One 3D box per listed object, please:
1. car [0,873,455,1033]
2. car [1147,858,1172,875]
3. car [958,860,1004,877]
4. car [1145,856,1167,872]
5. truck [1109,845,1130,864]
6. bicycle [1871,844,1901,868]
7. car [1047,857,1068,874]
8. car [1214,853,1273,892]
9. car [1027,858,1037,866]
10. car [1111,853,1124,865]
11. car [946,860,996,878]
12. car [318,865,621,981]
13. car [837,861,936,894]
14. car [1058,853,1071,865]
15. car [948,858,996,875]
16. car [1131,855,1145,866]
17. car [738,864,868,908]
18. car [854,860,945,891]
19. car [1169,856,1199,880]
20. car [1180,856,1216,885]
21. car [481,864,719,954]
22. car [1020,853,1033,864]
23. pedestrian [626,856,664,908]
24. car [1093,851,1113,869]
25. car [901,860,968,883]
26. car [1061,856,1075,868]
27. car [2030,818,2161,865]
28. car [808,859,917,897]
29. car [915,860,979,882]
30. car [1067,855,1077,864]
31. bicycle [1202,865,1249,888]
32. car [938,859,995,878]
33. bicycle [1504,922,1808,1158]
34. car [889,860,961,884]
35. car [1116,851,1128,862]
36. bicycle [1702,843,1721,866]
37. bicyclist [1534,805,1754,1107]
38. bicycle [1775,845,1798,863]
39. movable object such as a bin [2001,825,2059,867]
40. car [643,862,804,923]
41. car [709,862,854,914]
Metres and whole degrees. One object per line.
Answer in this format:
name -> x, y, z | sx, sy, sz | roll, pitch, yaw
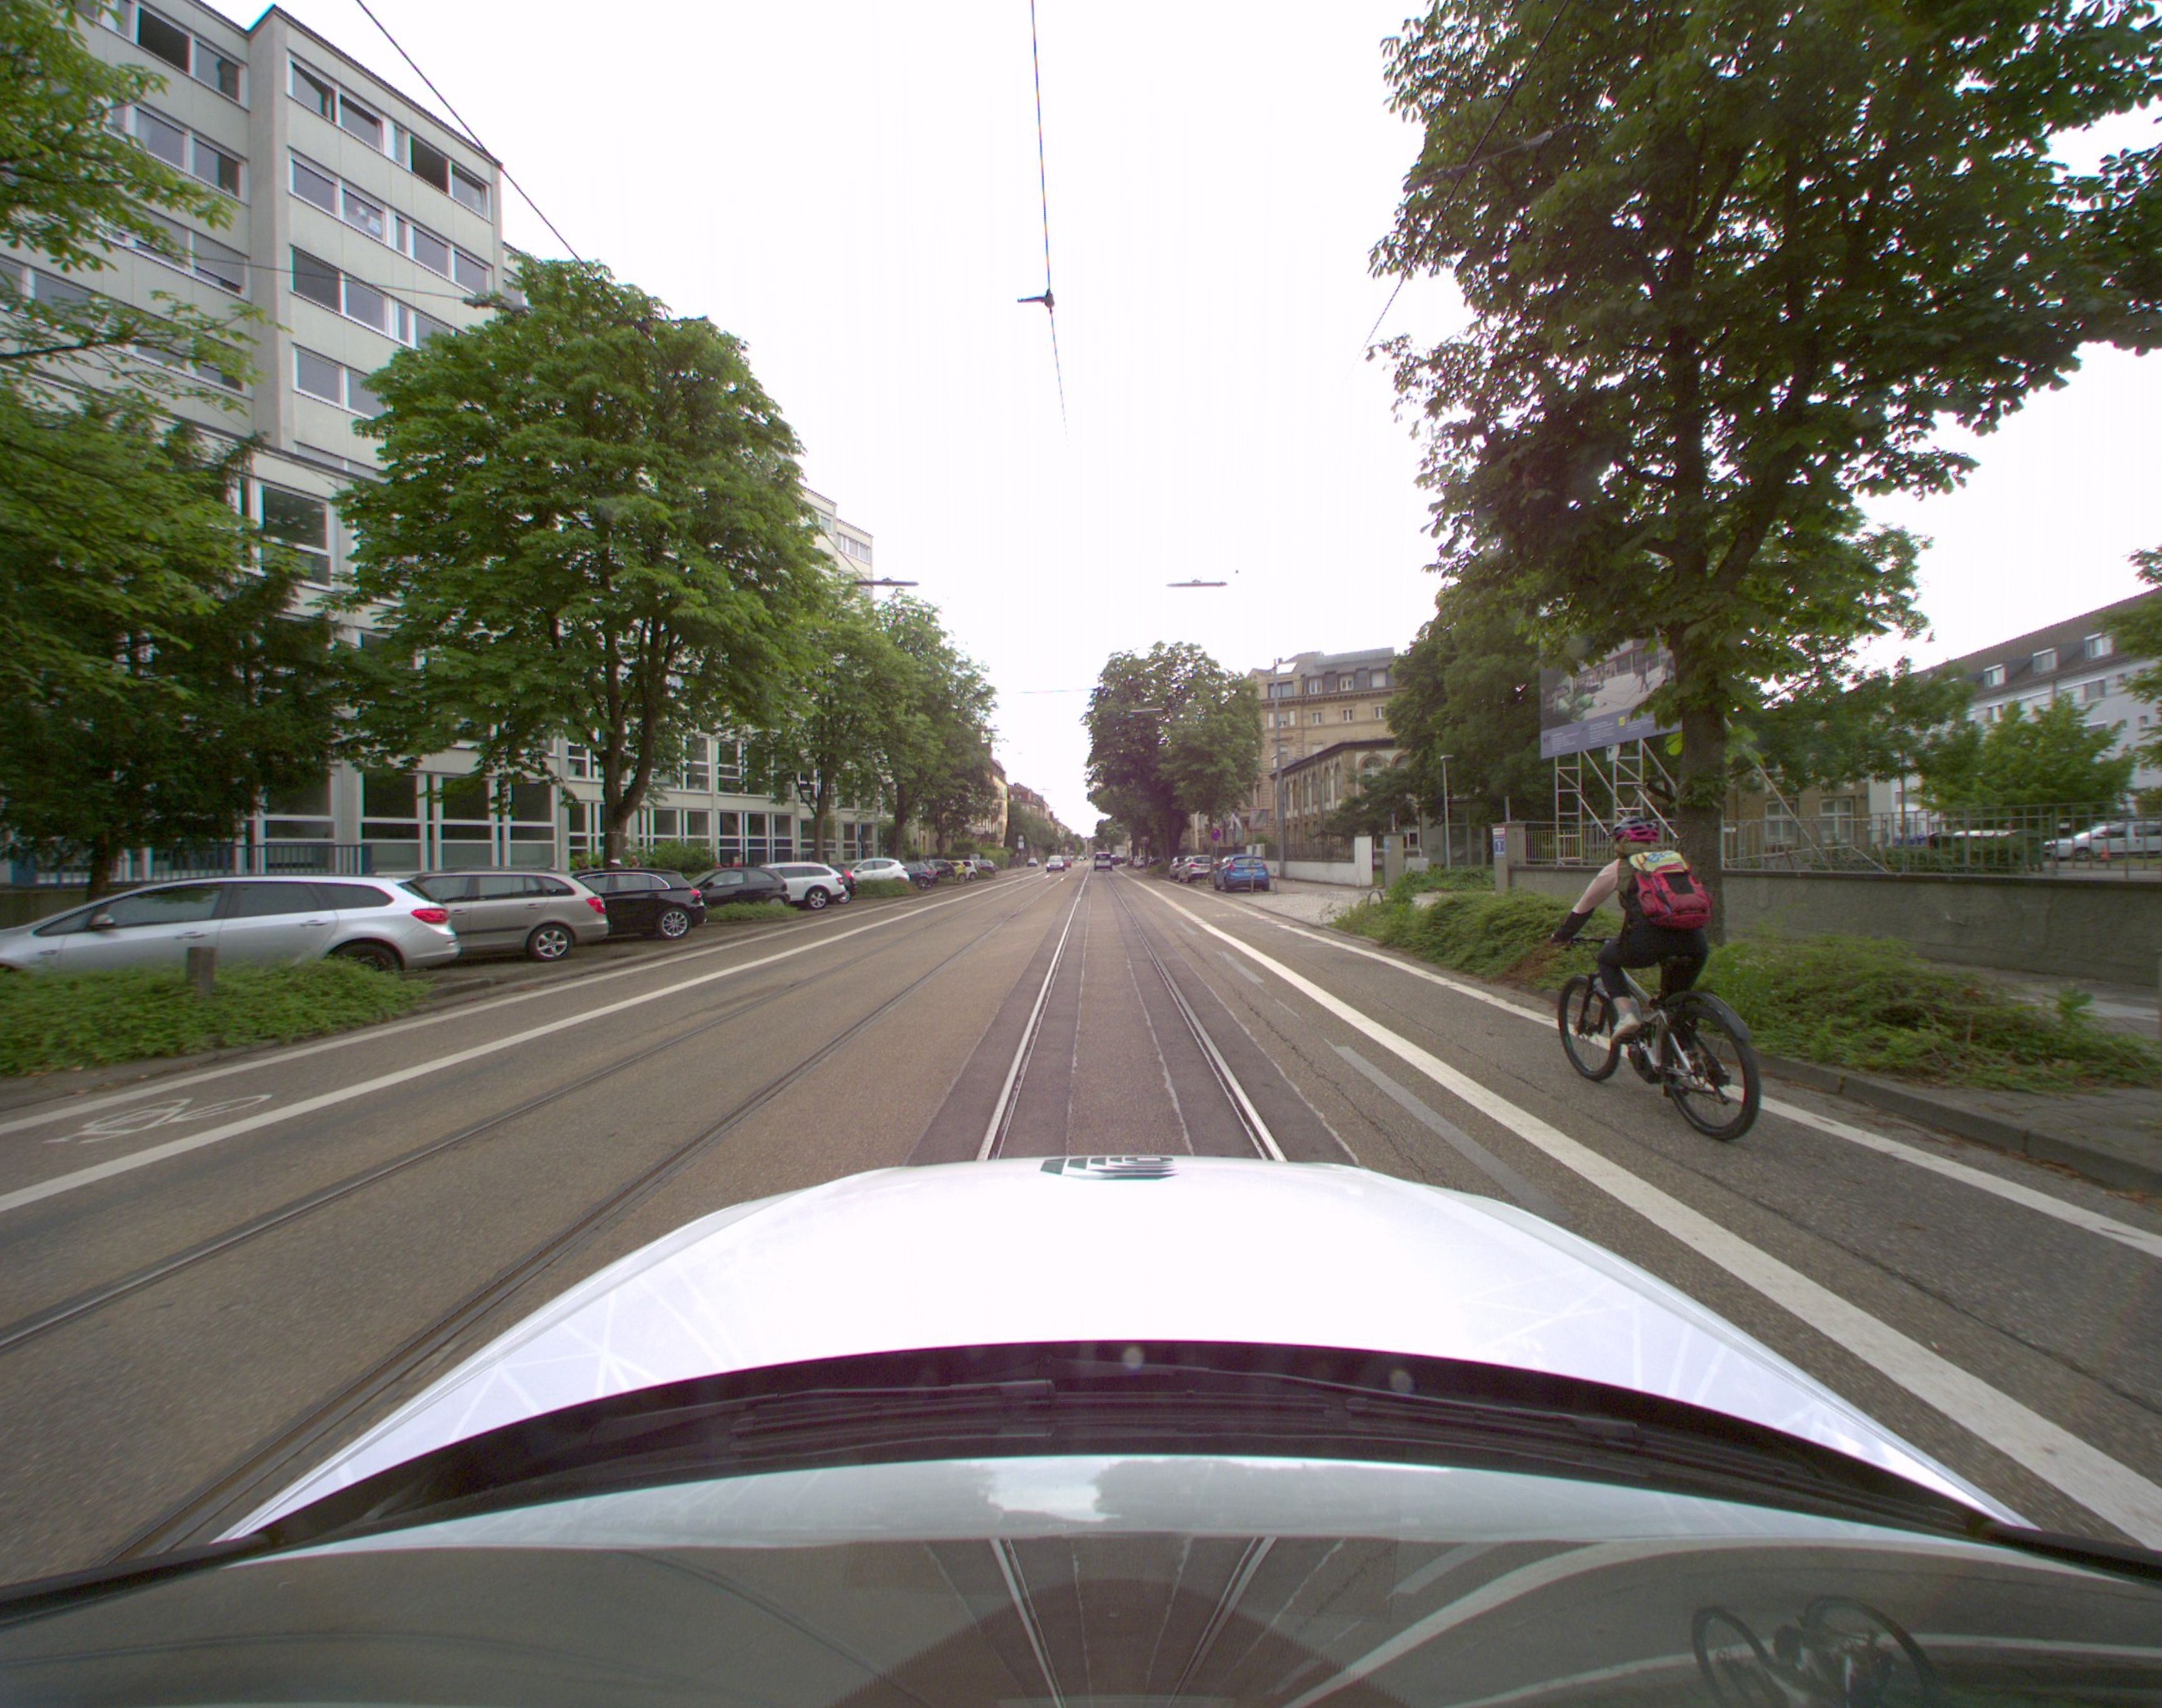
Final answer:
car -> -10.108, 0.991, 9.300 | 1.781, 1.465, 4.459 | -1, -1, 43
car -> 6.326, 0.980, 65.798 | 1.865, 1.251, 4.003 | -2, 0, 3
car -> -8.850, 1.259, 71.800 | 3.724, 1.386, 1.687 | 0, 0, -24
car -> 6.748, 0.889, 73.491 | 1.784, 1.399, 3.798 | -2, 0, 3
truck -> 8.612, 0.200, 181.797 | 3.798, 4.029, 10.210 | -1, 0, -2
bicycle -> 37.149, 0.089, 37.587 | 0.391, 1.065, 1.839 | -1, 0, 26
car -> -2.330, 1.117, 81.065 | 1.894, 1.530, 3.755 | -3, 0, 1
car -> 6.348, 0.693, 32.168 | 1.668, 1.460, 3.432 | -1, 0, 0
car -> -8.563, 1.346, 142.489 | 1.637, 1.354, 3.873 | -1, 0, -2
car -> 5.847, 0.848, 129.756 | 1.986, 1.794, 4.002 | -2, 0, 2
car -> -8.852, 1.187, 65.730 | 3.724, 1.386, 1.687 | 0, 0, -24
car -> -9.524, 0.957, 12.863 | 3.672, 1.524, 1.553 | 0, 0, -44
car -> -9.249, 1.088, 38.880 | 4.371, 1.454, 1.679 | 0, 0, -45
car -> -3.314, 1.024, 162.836 | 2.195, 2.417, 4.005 | -2, 0, 5
car -> -9.166, 1.051, 68.619 | 3.724, 1.386, 1.687 | 0, 0, -24
car -> 7.891, 0.888, 113.065 | 1.762, 1.399, 3.798 | -2, 0, 3
car -> -9.763, 1.085, 28.714 | 4.047, 1.405, 1.681 | 0, 0, -37
car -> -9.349, 1.067, 42.199 | 4.371, 1.535, 1.679 | 0, 0, -45
car -> 6.467, 0.842, 51.332 | 1.470, 1.429, 3.565 | -1, 0, 1
car -> 6.333, 0.864, 44.221 | 1.470, 1.481, 3.565 | -1, 0, 1
car -> -9.302, 0.967, 15.907 | 3.727, 1.524, 1.679 | 0, 0, -44
car -> -11.135, 0.895, 167.849 | 2.169, 2.207, 4.220 | -2, 0, 2
pedestrian -> -13.777, 0.883, 25.748 | 0.746, 1.612, 0.738 | 0, -2, 25
car -> 2.233, 0.637, 80.927 | 1.804, 1.708, 3.702 | -1, -1, 3
car -> -9.303, 1.094, 51.897 | 3.991, 1.352, 1.679 | 0, 0, -45
car -> -1.721, 1.046, 106.443 | 1.670, 1.522, 2.782 | -1, -1, 1
car -> 46.398, -0.545, 36.715 | 4.298, 2.014, 1.864 | -1, -1, 23
car -> -9.499, 1.002, 35.659 | 1.678, 1.556, 4.373 | 0, 0, 42
car -> -9.014, 1.127, 55.013 | 3.991, 1.352, 1.679 | 0, 0, -45
car -> -2.271, 1.368, 206.948 | 2.197, 2.255, 4.001 | -2, 0, 1
bicycle -> 6.577, 1.012, 37.061 | 2.007, 0.957, 0.533 | -2, 0, -3
car -> -8.444, 1.065, 60.182 | 3.991, 1.352, 1.679 | 0, 0, -45
bicycle -> 3.341, 0.994, 5.006 | 0.487, 0.979, 2.058 | 0, 0, 2
car -> -9.301, 1.056, 48.674 | 3.991, 1.352, 1.679 | 0, 0, -45
car -> 7.694, 0.540, 152.686 | 1.988, 2.013, 3.998 | -1, 0, -1
bicycle -> 31.484, 0.017, 40.682 | 0.611, 1.119, 2.235 | -2, 0, 34
bicyclist -> 3.291, 0.550, 4.851 | 0.655, 1.610, 0.920 | -1, 0, 2
bicycle -> 34.003, 0.007, 39.279 | 0.611, 0.813, 1.957 | -2, 0, 34
movable object such as a bin -> 34.027, -0.295, 29.226 | 1.042, 1.450, 1.363 | -1, 2, 36
car -> -9.812, 0.991, 22.520 | 3.727, 1.524, 1.679 | 0, 0, -44
car -> -9.497, 1.021, 25.977 | 4.047, 1.484, 1.681 | 0, 0, -37
